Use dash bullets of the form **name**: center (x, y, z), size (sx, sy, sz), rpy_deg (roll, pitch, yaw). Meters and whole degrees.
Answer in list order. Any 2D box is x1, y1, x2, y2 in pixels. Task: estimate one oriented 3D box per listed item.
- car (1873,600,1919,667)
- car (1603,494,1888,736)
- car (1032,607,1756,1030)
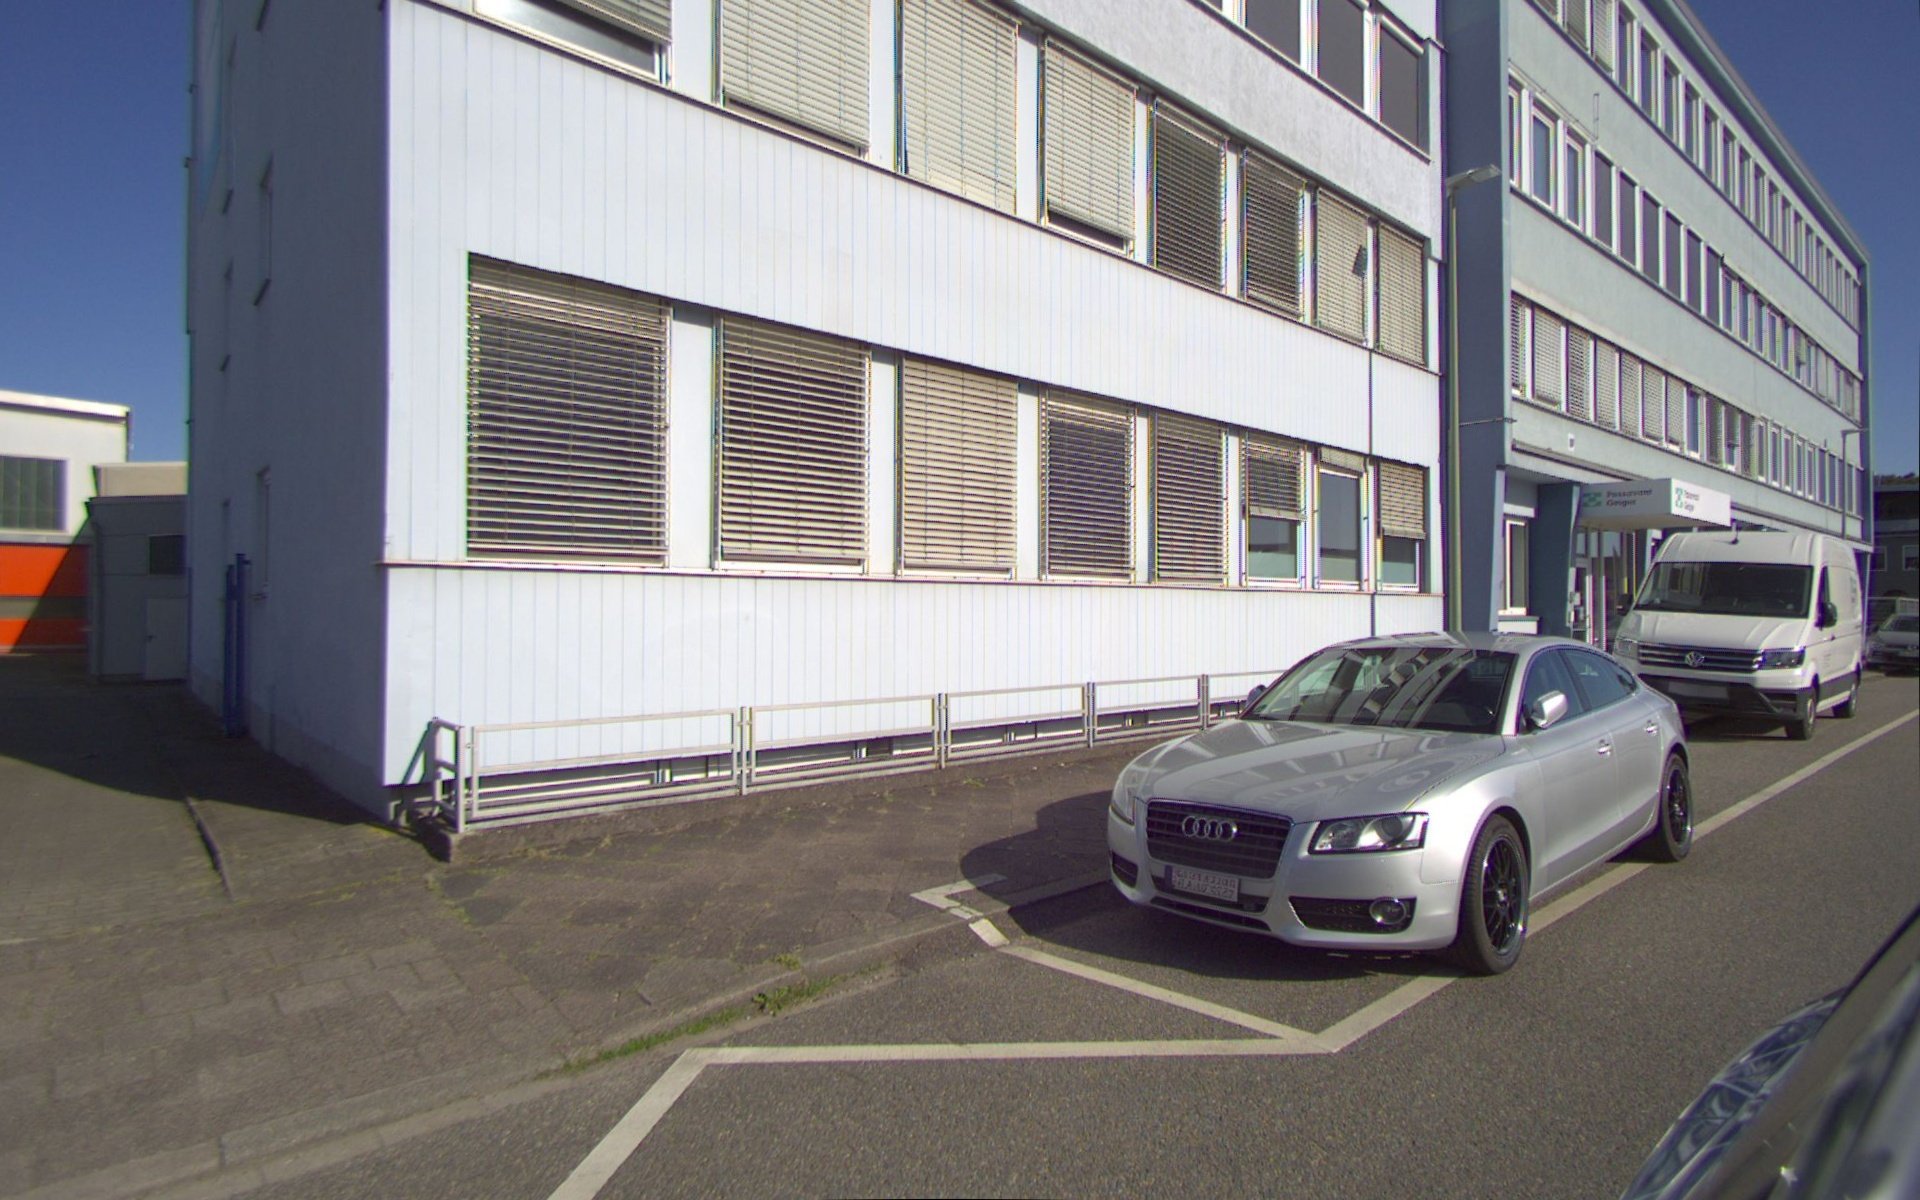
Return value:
- **car**: center (24.588, 0.800, 25.445), size (5.002, 1.580, 1.892), rpy_deg (0, -1, -42)
- **car**: center (10.866, 0.195, 13.769), size (5.946, 2.630, 1.997), rpy_deg (2, 0, -42)
- **car**: center (2.876, 0.803, 5.936), size (5.035, 1.423, 1.897), rpy_deg (0, -2, -41)
